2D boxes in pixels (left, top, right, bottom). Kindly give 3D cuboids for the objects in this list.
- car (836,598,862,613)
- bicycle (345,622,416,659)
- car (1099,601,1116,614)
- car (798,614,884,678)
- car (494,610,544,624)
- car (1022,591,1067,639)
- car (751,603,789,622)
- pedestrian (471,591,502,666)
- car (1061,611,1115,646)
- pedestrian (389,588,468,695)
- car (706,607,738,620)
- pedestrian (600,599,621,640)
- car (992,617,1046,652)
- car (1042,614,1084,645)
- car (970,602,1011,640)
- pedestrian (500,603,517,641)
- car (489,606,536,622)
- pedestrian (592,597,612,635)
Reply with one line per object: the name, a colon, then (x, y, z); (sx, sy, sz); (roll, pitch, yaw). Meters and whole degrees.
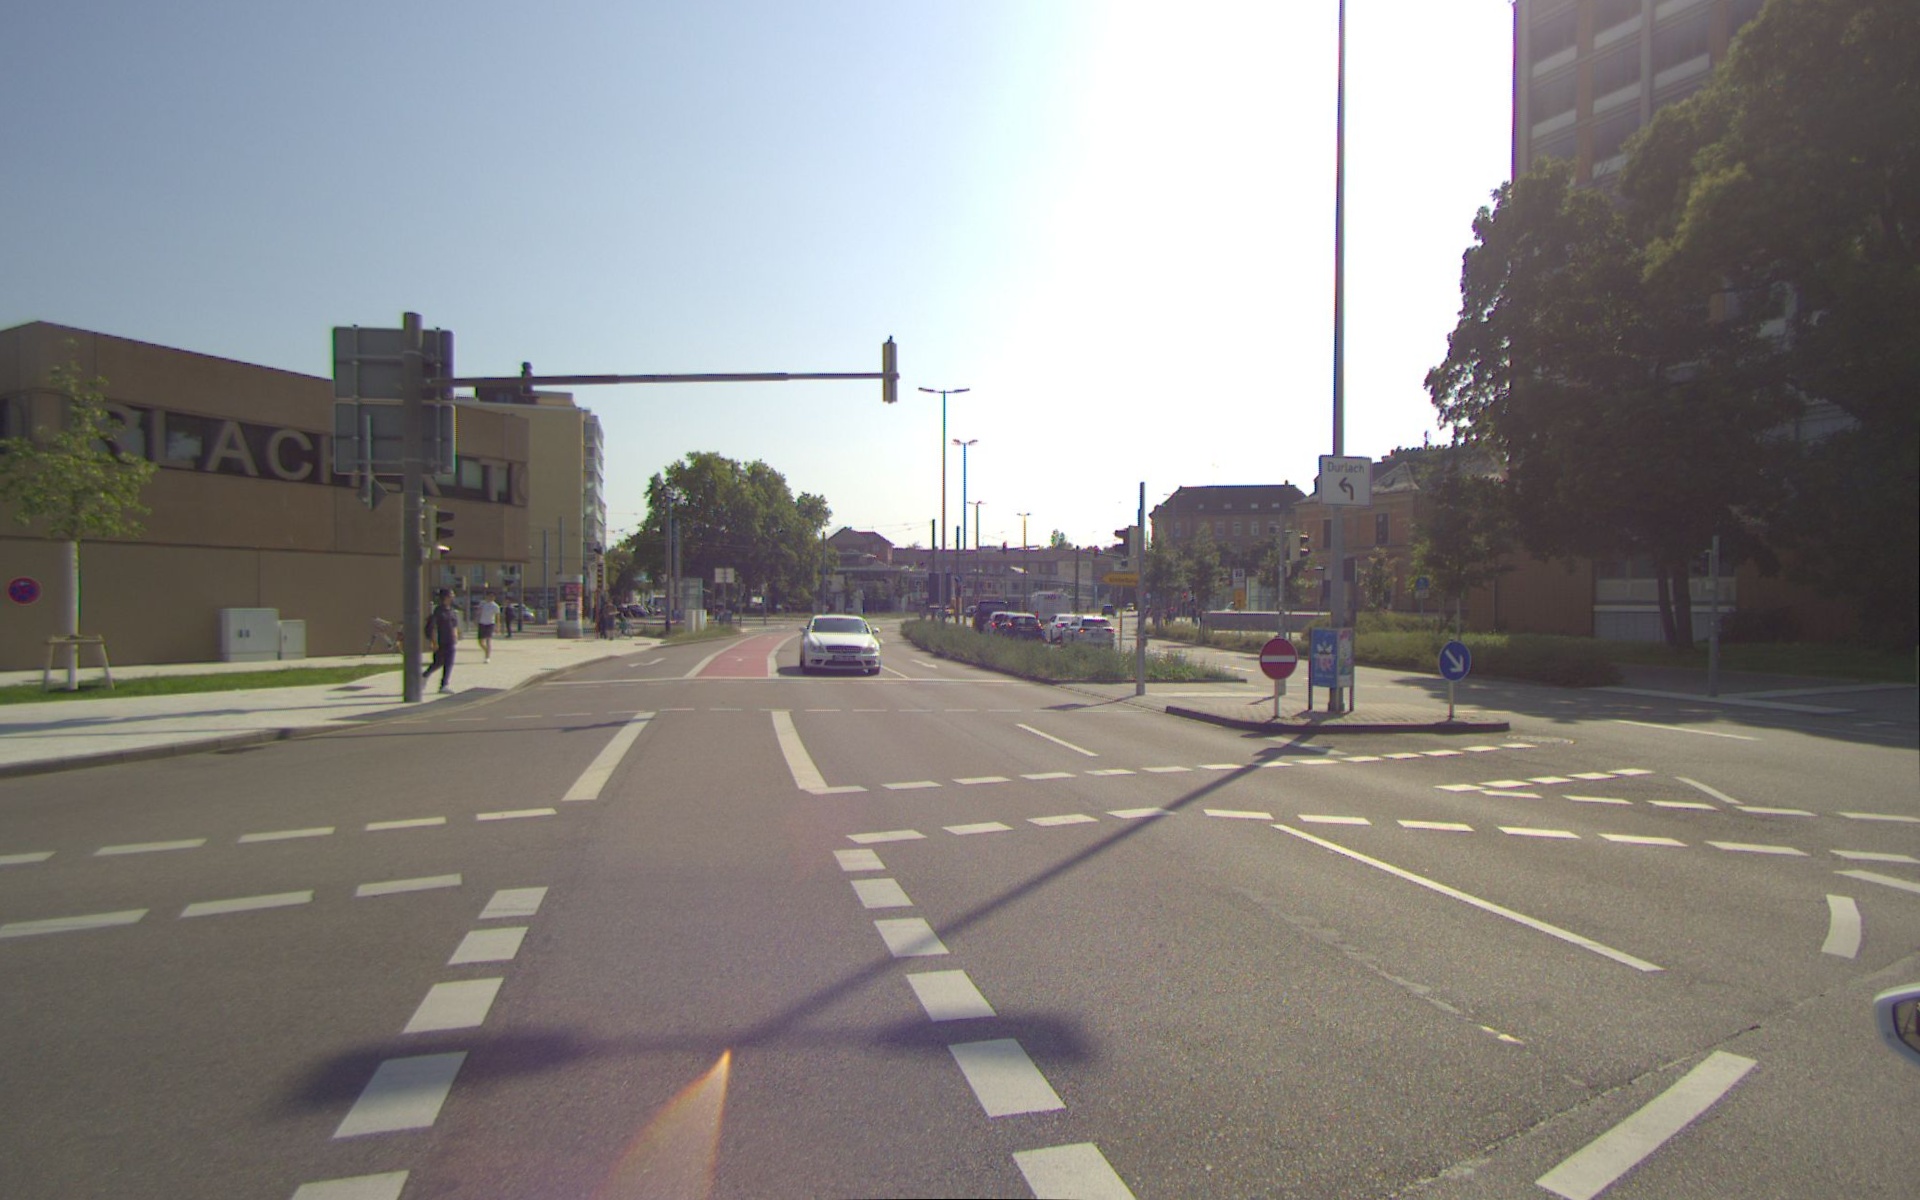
car: (-16.816, 0.820, 152.171); (3.924, 2.041, 1.998); (1, 2, -6)
bicycle: (-16.290, 1.126, 28.268); (0.649, 0.968, 1.611); (2, 1, 26)
car: (22.959, 1.147, 155.851); (2.371, 2.040, 4.781); (0, 0, 12)
car: (-3.111, 1.105, 25.435); (1.815, 1.379, 4.810); (2, -1, -11)
car: (-39.052, 1.489, 89.042); (3.776, 1.195, 1.572); (1, -3, -13)
car: (4.817, 0.882, 57.953); (2.153, 2.583, 4.683); (1, -1, -1)
car: (-20.991, 1.341, 110.878); (3.935, 2.040, 1.993); (0, 0, -16)
pedestrian: (-12.006, 0.710, 25.486); (0.685, 1.857, 0.567); (0, 0, -24)
car: (5.379, 1.207, 42.621); (1.658, 1.406, 3.633); (1, -1, -3)
pedestrian: (-9.480, 0.729, 17.947); (1.063, 1.864, 0.729); (0, 0, -8)
car: (-30.349, 1.759, 128.189); (3.931, 1.639, 1.809); (0, 0, -13)
pedestrian: (-15.286, 0.844, 43.930); (0.672, 1.783, 0.869); (0, 0, -37)
car: (2.469, 1.446, 43.075); (1.675, 1.386, 3.960); (1, -1, -6)
car: (4.996, 1.418, 49.202); (1.465, 1.421, 3.941); (1, -1, -3)
car: (1.675, 1.153, 56.463); (1.990, 2.034, 4.682); (1, -1, -2)
pedestrian: (-19.429, 0.941, 43.207); (0.489, 1.601, 0.507); (1, 2, -2)
car: (-40.725, 1.311, 91.483); (3.688, 1.412, 1.581); (1, 0, -16)
pedestrian: (-17.735, 0.791, 49.747); (0.838, 1.802, 0.870); (0, 3, -29)
